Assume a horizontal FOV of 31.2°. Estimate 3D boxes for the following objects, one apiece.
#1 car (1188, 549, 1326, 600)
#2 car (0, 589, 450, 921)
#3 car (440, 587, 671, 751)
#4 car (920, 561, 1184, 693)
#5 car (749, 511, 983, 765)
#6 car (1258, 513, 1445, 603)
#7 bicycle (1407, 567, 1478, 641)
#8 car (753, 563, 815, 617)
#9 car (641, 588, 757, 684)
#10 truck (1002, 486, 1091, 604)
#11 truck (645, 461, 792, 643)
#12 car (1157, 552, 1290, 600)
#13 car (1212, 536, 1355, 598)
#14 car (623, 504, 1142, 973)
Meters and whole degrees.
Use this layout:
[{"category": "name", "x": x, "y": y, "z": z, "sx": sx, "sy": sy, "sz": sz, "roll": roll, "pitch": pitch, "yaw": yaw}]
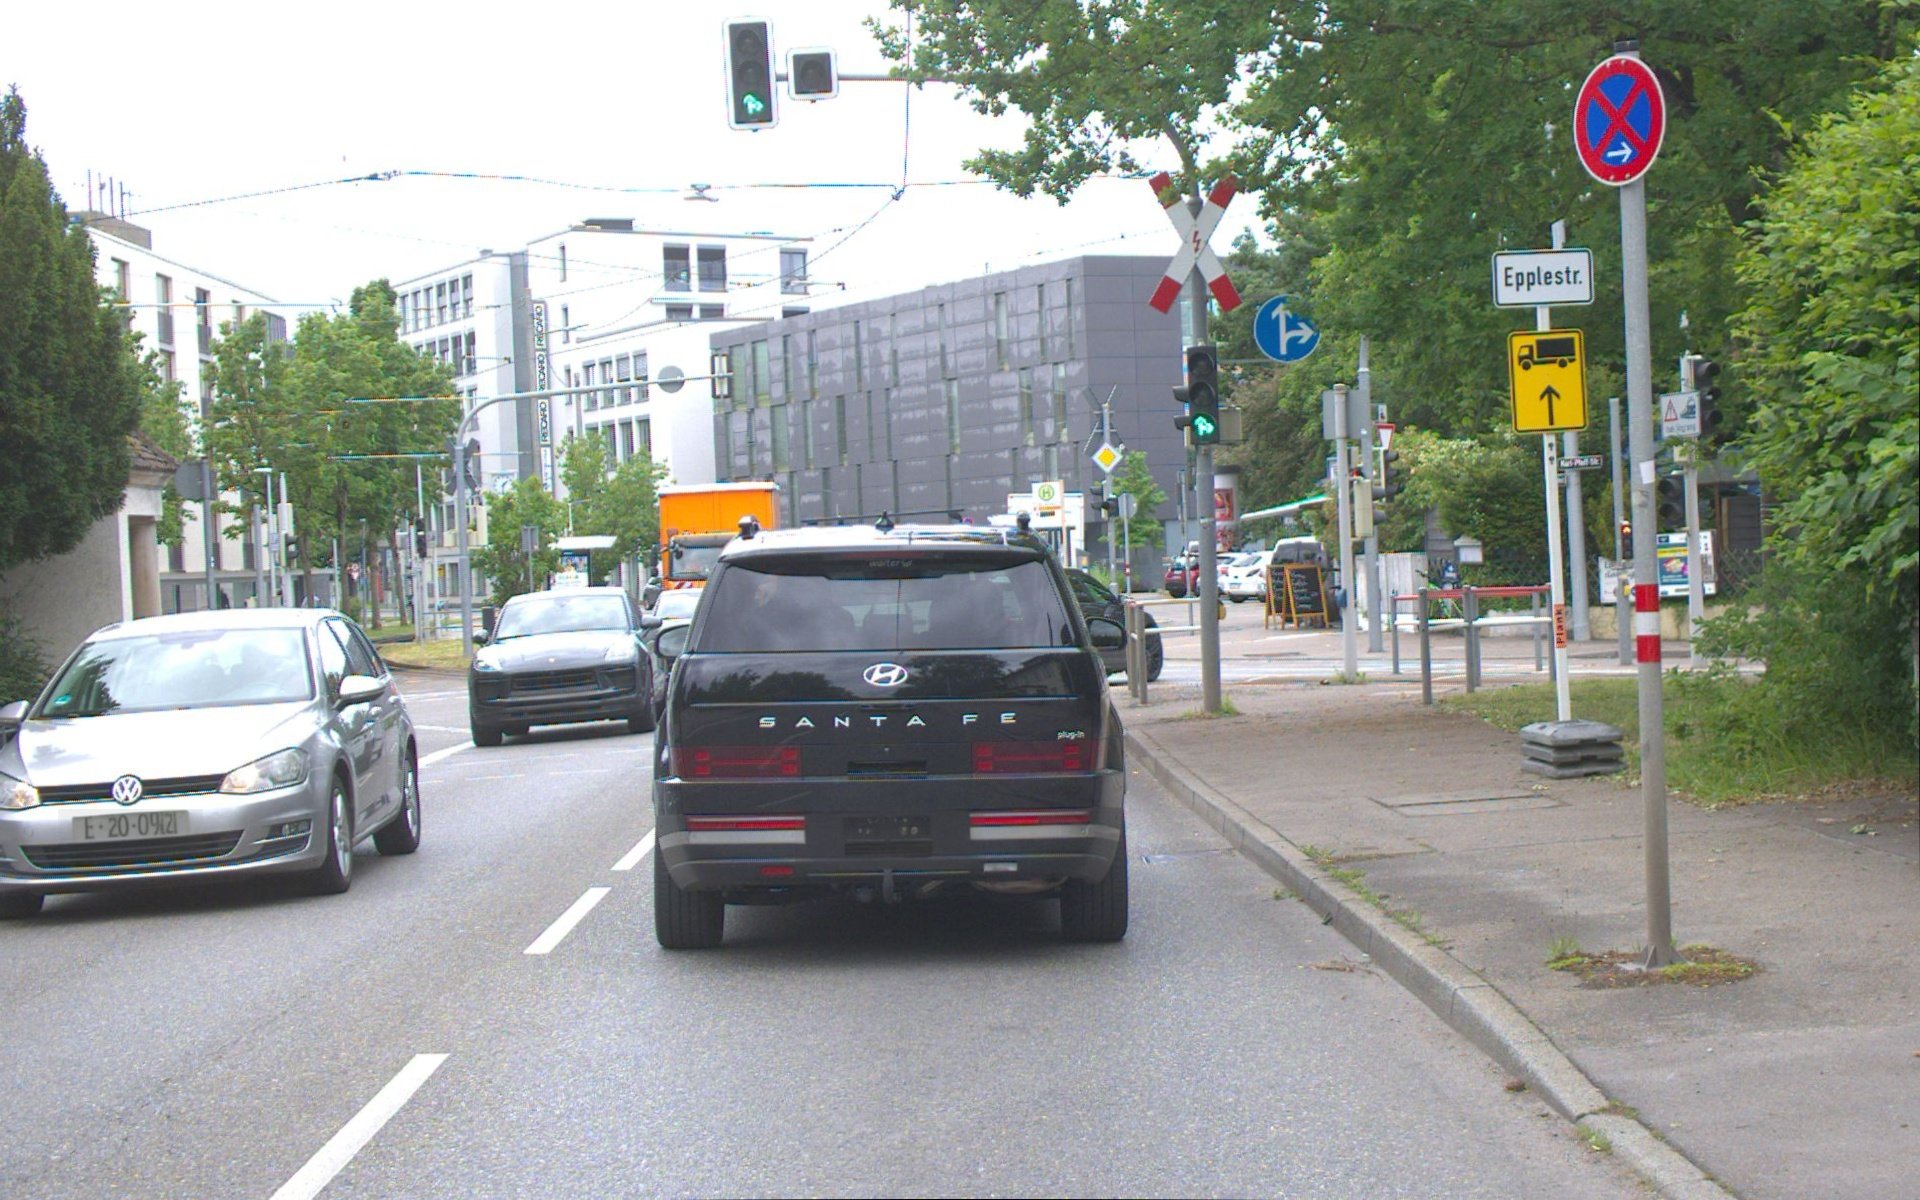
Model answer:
[{"category": "car", "x": 8.907, "y": -0.758, "z": 103.050, "sx": 3.791, "sy": 1.469, "sz": 1.798, "roll": 0, "pitch": -1, "yaw": -31}, {"category": "car", "x": -3.930, "y": 0.731, "z": 18.246, "sx": 1.725, "sy": 1.457, "sz": 4.154, "roll": -3, "pitch": 1, "yaw": 1}, {"category": "car", "x": -4.351, "y": 0.701, "z": 37.658, "sx": 1.939, "sy": 1.526, "sz": 4.526, "roll": -4, "pitch": 1, "yaw": -1}, {"category": "car", "x": 1.183, "y": 0.292, "z": 41.378, "sx": 1.995, "sy": 1.458, "sz": 4.515, "roll": -1, "pitch": 0, "yaw": 17}, {"category": "car", "x": -0.829, "y": 0.276, "z": 30.758, "sx": 1.855, "sy": 2.026, "sz": 4.437, "roll": -3, "pitch": 1, "yaw": -1}, {"category": "car", "x": 8.579, "y": -0.939, "z": 75.016, "sx": 1.849, "sy": 1.742, "sz": 4.686, "roll": -2, "pitch": 1, "yaw": 37}, {"category": "bicycle", "x": 8.278, "y": 0.058, "z": 59.014, "sx": 0.548, "sy": 1.135, "sz": 1.879, "roll": -2, "pitch": 4, "yaw": -13}, {"category": "car", "x": -5.774, "y": -0.353, "z": 113.362, "sx": 1.788, "sy": 1.656, "sz": 4.277, "roll": -3, "pitch": 1, "yaw": -1}, {"category": "car", "x": -4.295, "y": 0.568, "z": 56.968, "sx": 1.664, "sy": 1.444, "sz": 3.828, "roll": -2, "pitch": 0, "yaw": -1}, {"category": "truck", "x": 2.709, "y": -1.740, "z": 109.259, "sx": 2.573, "sy": 3.513, "sz": 7.810, "roll": -2, "pitch": 1, "yaw": 1}, {"category": "truck", "x": -5.415, "y": -1.055, "z": 78.297, "sx": 2.769, "sy": 3.706, "sz": 8.469, "roll": -5, "pitch": 0, "yaw": -2}, {"category": "car", "x": 8.319, "y": -0.756, "z": 108.448, "sx": 3.790, "sy": 1.469, "sz": 1.798, "roll": 0, "pitch": -1, "yaw": -26}, {"category": "car", "x": 9.140, "y": -0.932, "z": 97.073, "sx": 3.638, "sy": 1.430, "sz": 1.591, "roll": -4, "pitch": 0, "yaw": -27}, {"category": "car", "x": -0.395, "y": 0.487, "z": 14.884, "sx": 1.915, "sy": 1.719, "sz": 4.171, "roll": -1, "pitch": 1, "yaw": -3}]
